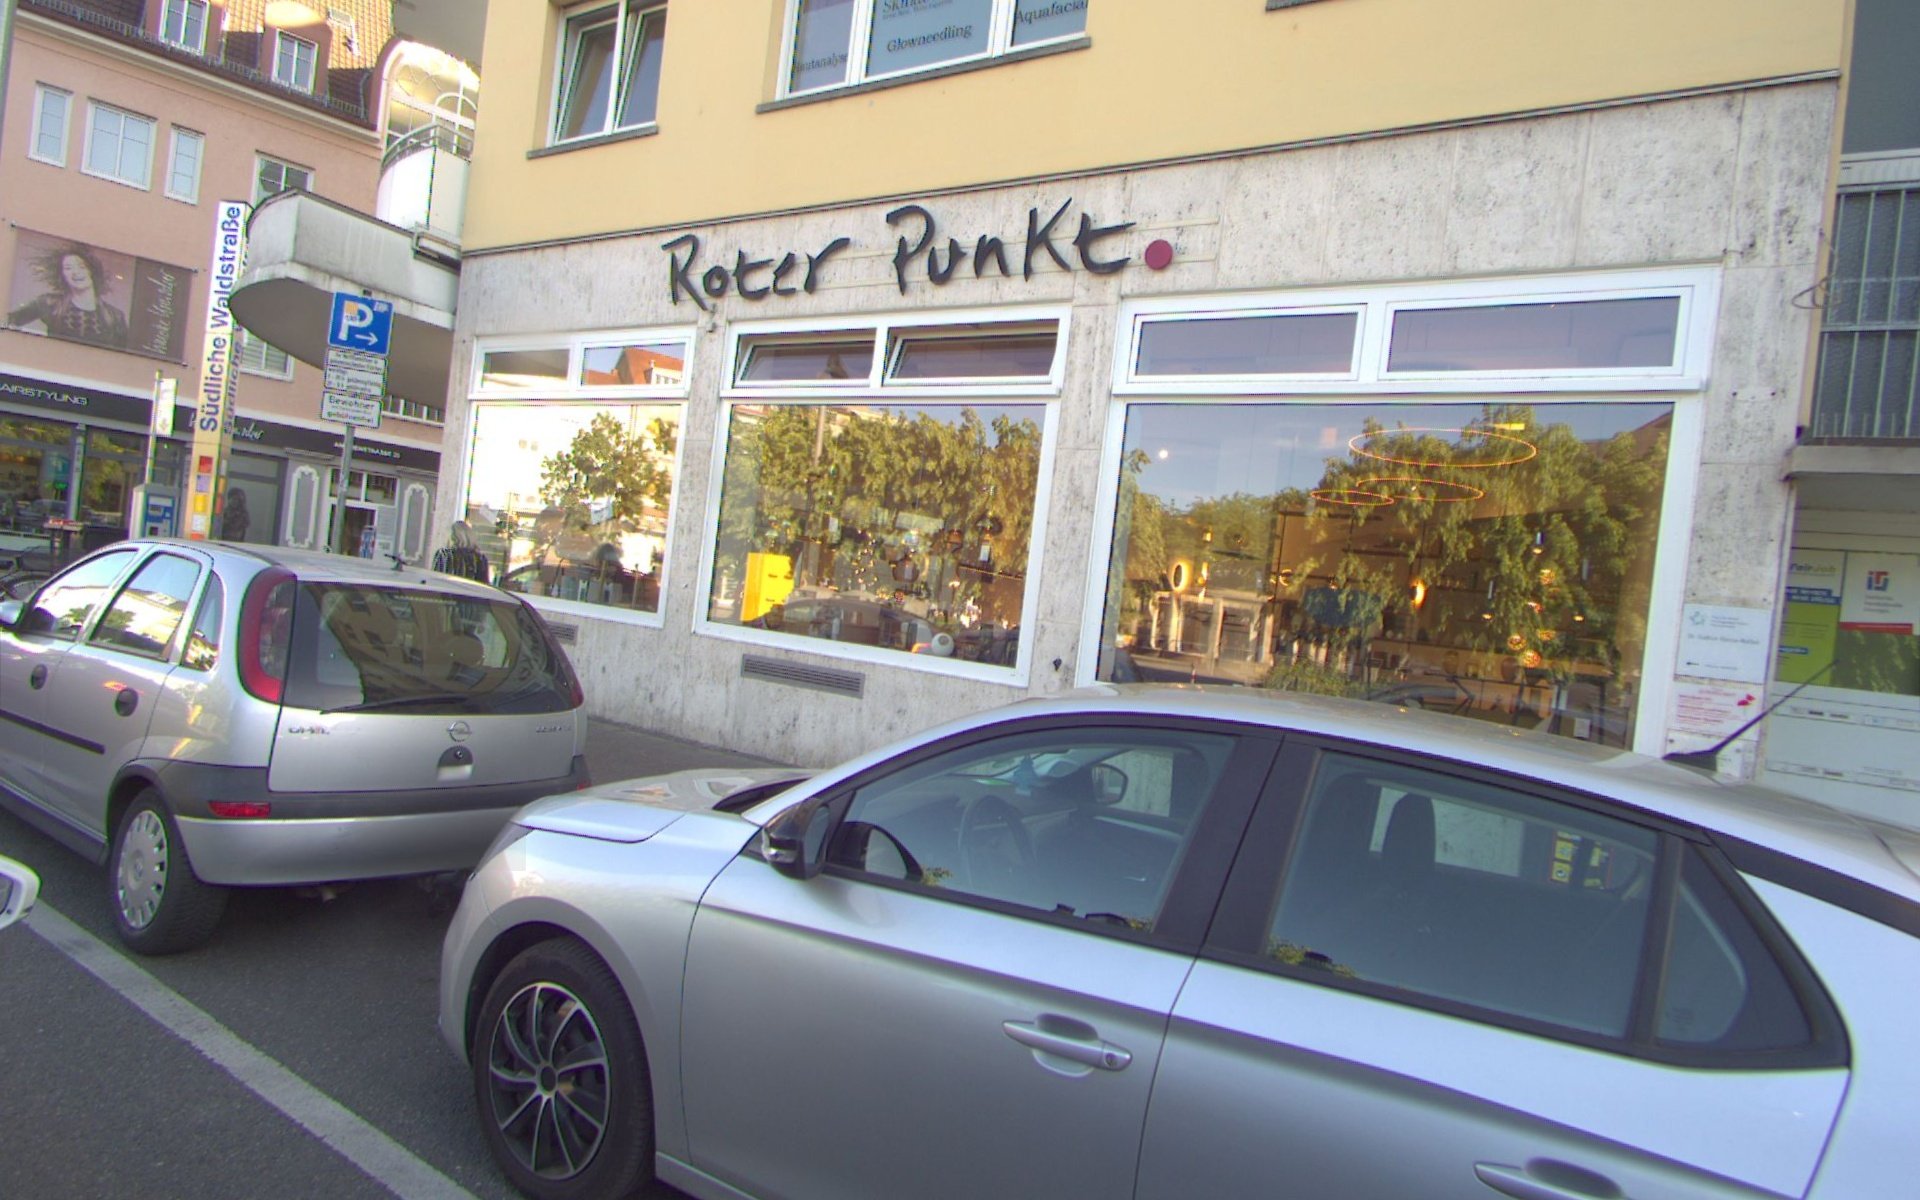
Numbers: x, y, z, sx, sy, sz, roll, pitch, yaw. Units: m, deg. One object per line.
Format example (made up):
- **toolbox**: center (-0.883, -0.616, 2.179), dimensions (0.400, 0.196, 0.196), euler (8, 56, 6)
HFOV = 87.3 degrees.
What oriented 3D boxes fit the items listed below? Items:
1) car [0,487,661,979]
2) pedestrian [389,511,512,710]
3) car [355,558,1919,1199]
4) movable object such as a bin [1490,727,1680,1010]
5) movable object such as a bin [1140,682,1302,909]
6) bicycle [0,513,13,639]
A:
- **car**: center (-3.416, 0.329, 4.746), dimensions (3.822, 1.411, 1.624), euler (7, -1, 33)
- **pedestrian**: center (-4.489, 0.087, 8.869), dimensions (0.618, 1.654, 0.661), euler (6, 2, 36)
- **car**: center (0.582, 0.876, 2.463), dimensions (4.007, 1.444, 1.674), euler (7, -1, 29)
- **movable object such as a bin**: center (2.955, 1.221, 4.798), dimensions (0.609, 1.082, 0.703), euler (7, 3, 31)
- **movable object such as a bin**: center (1.490, 1.061, 5.711), dimensions (0.609, 1.082, 0.703), euler (7, 3, 31)
- **bicycle**: center (-9.614, -0.280, 8.949), dimensions (0.425, 1.175, 1.629), euler (7, 1, 30)
